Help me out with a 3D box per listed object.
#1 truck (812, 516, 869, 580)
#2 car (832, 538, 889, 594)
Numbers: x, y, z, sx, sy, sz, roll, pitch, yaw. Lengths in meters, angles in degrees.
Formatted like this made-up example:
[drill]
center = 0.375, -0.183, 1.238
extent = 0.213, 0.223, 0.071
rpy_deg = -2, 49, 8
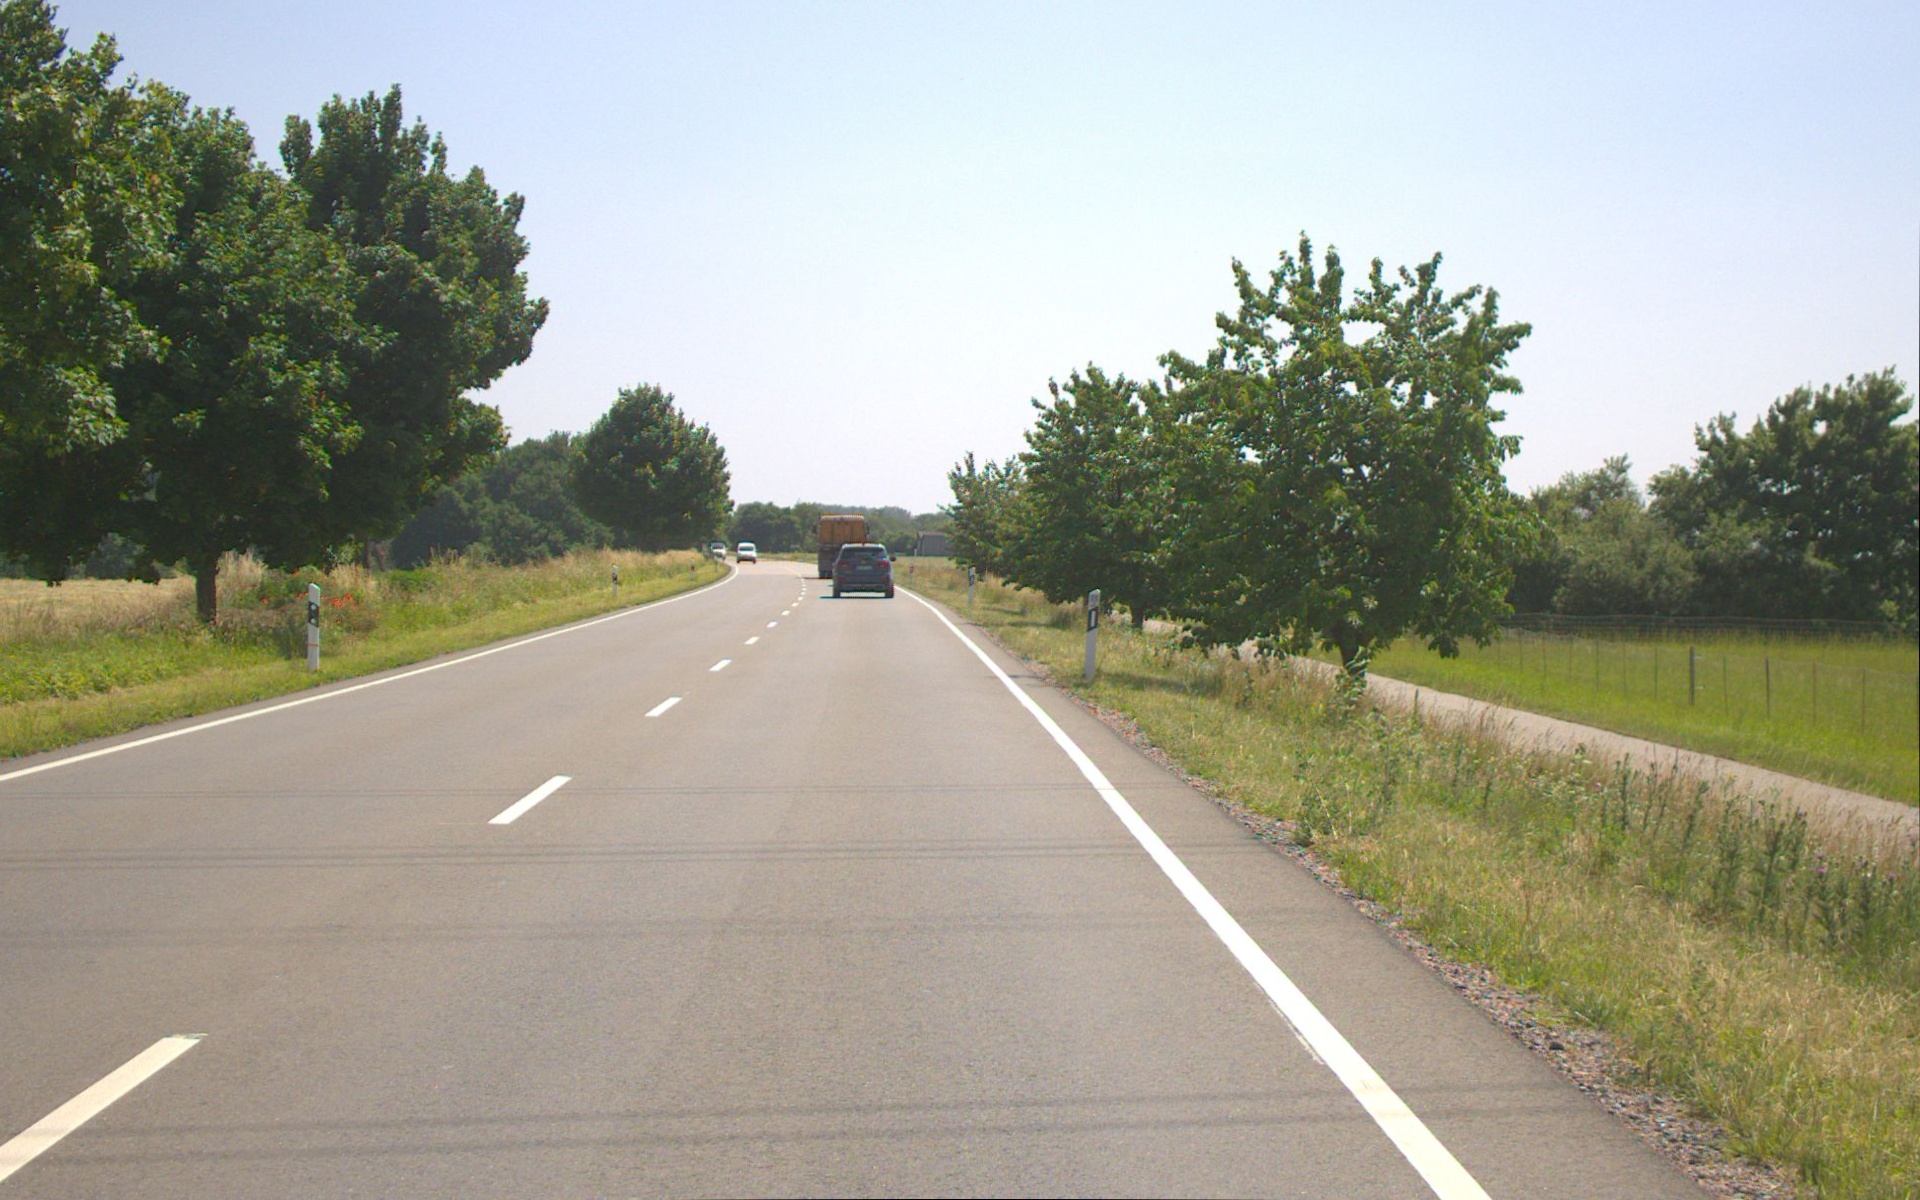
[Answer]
[truck]
center = -6.088, -2.618, 173.739
extent = 2.370, 3.129, 8.749
rpy_deg = 1, 1, -5
[car]
center = -3.058, -1.051, 106.497
extent = 1.714, 1.688, 3.989
rpy_deg = 1, 1, -1
